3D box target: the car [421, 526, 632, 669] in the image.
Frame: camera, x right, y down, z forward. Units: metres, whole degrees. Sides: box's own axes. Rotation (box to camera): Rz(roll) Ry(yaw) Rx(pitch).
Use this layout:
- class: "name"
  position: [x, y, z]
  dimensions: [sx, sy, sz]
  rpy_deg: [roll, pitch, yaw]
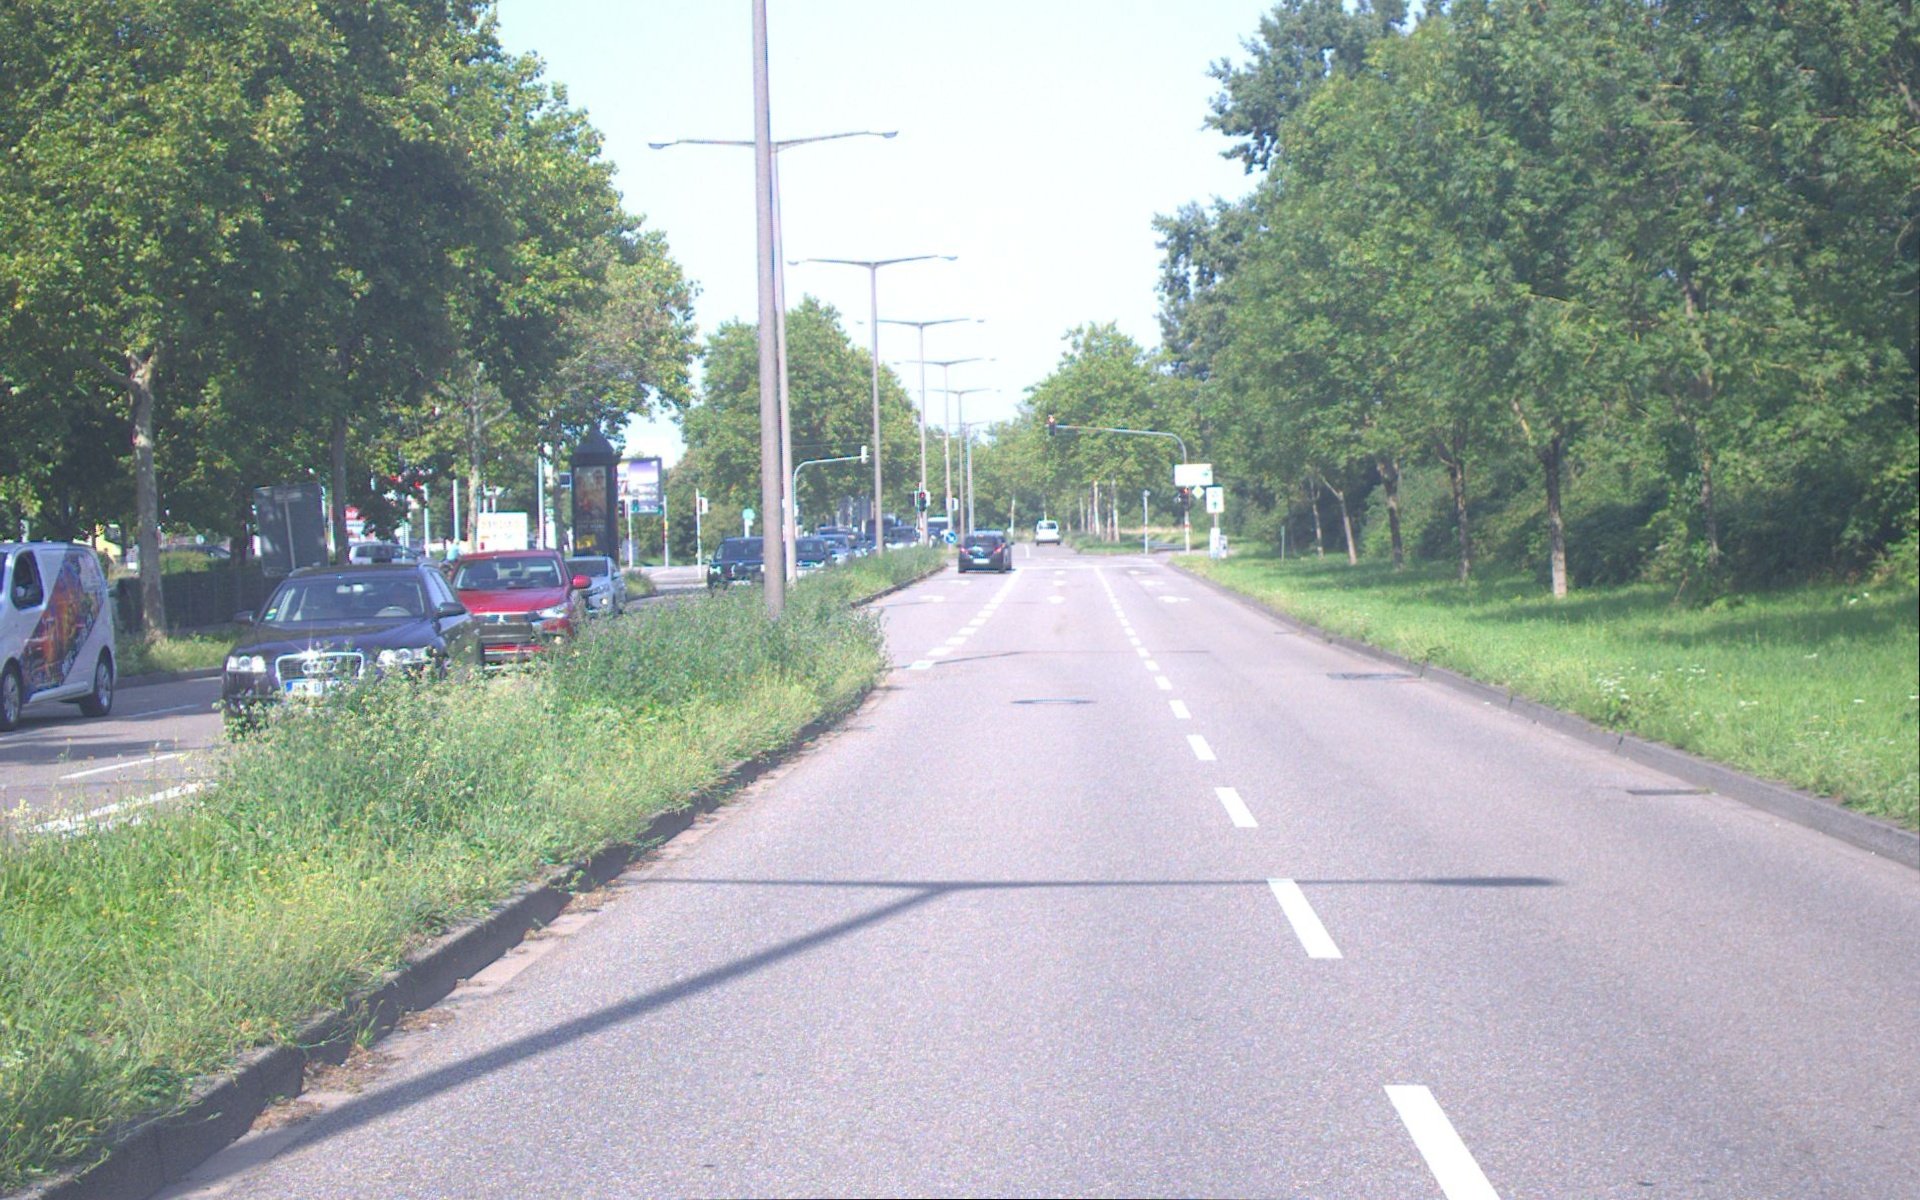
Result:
- class: "car"
  position: [-5.553, -0.062, 44.595]
  dimensions: [1.954, 1.718, 4.587]
  rpy_deg: [-1, 1, 2]

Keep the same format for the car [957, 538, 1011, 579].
- class: "car"
  position: [0.905, -1.553, 127.383]
  dimensions: [1.692, 1.481, 3.999]
  rpy_deg: [-1, 1, 5]

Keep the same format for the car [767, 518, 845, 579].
- class: "car"
  position: [-4.768, -1.592, 106.834]
  dimensions: [1.994, 1.753, 4.307]
  rpy_deg: [-3, 1, 2]

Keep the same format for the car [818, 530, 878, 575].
- class: "car"
  position: [-3.996, -1.694, 123.331]
  dimensions: [1.879, 1.588, 4.108]
  rpy_deg: [0, 0, 2]

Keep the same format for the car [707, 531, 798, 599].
- class: "car"
  position: [-5.542, -0.944, 92.459]
  dimensions: [1.993, 1.753, 4.477]
  rpy_deg: [-1, 1, 2]

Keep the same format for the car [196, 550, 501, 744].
- class: "car"
  position: [-5.226, 0.348, 29.957]
  dimensions: [1.746, 1.474, 4.587]
  rpy_deg: [-3, 1, 0]

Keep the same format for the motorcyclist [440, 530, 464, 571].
- class: "motorcyclist"
  position: [-19.756, -1.926, 133.768]
  dimensions: [0.681, 1.566, 0.683]
  rpy_deg: [-1, 1, -34]

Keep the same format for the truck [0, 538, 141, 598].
- class: "truck"
  position: [-49.608, -1.724, 187.153]
  dimensions: [8.986, 2.947, 3.514]
  rpy_deg: [-3, 1, -34]

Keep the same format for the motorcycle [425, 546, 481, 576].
- class: "motorcycle"
  position: [-19.724, -1.503, 133.795]
  dimensions: [2.069, 1.132, 0.677]
  rpy_deg: [-1, 1, -33]

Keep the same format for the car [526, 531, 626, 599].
- class: "car"
  position: [-8.871, -0.820, 79.605]
  dimensions: [1.791, 1.477, 4.000]
  rpy_deg: [-2, 1, 1]

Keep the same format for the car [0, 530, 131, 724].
- class: "car"
  position: [-10.137, 0.279, 34.910]
  dimensions: [1.984, 1.852, 4.969]
  rpy_deg: [-3, 1, 2]
